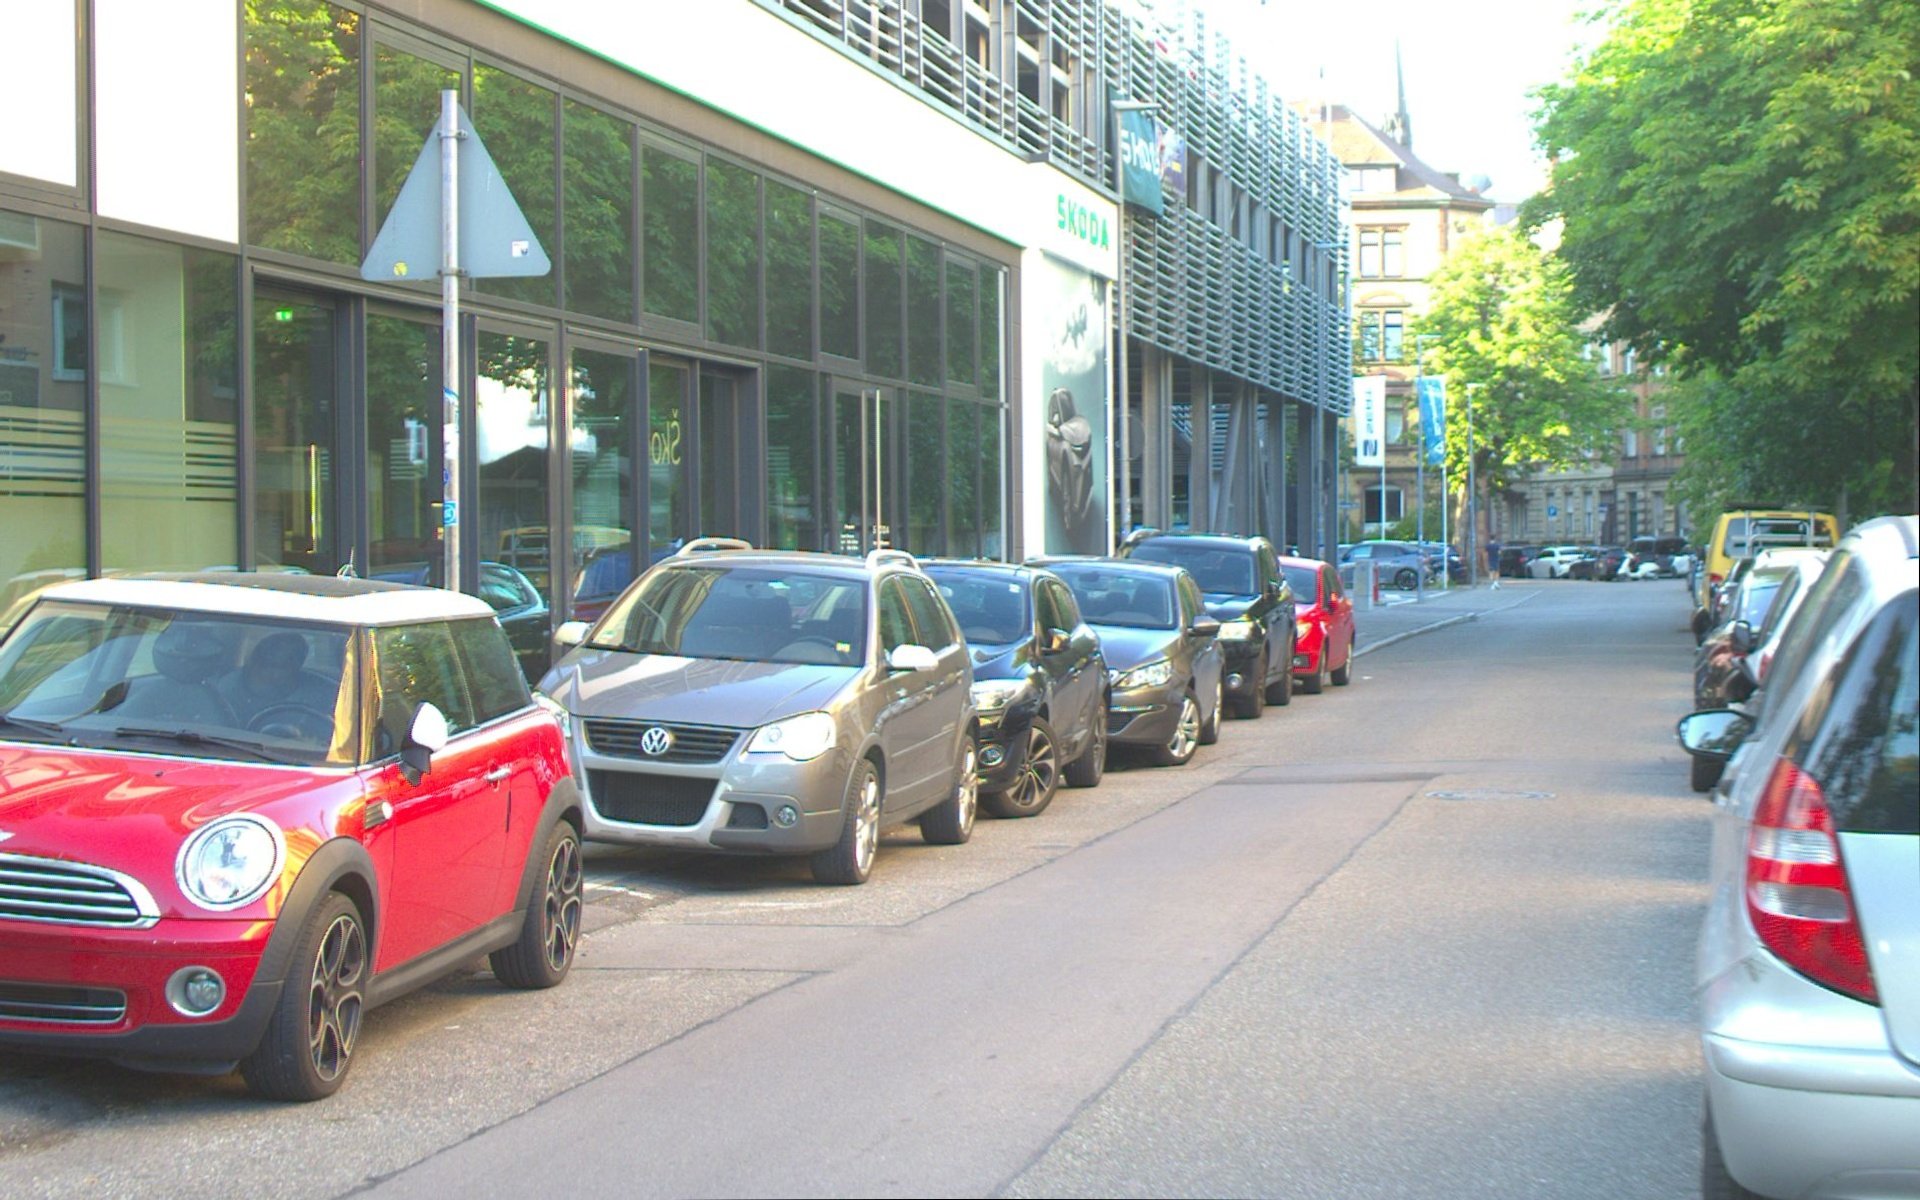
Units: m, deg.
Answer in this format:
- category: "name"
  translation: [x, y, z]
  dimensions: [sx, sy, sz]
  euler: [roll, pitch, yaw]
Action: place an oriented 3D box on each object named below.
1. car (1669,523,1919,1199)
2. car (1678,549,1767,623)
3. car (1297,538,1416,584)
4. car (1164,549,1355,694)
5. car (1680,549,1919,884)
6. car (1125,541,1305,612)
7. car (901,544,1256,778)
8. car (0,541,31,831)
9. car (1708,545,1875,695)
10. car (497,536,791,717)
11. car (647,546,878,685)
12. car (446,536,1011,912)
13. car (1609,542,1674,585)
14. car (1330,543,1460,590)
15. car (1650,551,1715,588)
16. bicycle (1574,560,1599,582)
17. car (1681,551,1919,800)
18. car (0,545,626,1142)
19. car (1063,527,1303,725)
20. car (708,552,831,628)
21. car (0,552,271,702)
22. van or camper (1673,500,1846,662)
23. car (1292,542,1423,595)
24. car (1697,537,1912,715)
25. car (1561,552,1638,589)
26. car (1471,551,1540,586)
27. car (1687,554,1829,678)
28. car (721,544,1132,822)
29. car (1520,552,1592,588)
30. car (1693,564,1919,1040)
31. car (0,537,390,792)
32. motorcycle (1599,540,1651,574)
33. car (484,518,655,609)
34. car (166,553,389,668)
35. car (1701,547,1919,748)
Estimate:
- category: "car"
  translation: [2.560, 0.610, 7.841]
  dimensions: [1.810, 1.570, 3.883]
  euler: [0, 1, 11]
- category: "car"
  translation: [16.115, -0.312, 72.746]
  dimensions: [1.760, 1.437, 4.004]
  euler: [0, 2, 12]
- category: "car"
  translation: [13.827, -1.378, 119.846]
  dimensions: [4.046, 1.470, 1.920]
  euler: [2, 2, 8]
- category: "car"
  translation: [3.383, 0.203, 38.342]
  dimensions: [1.698, 1.501, 3.789]
  euler: [0, 1, 11]
- category: "car"
  translation: [4.444, 0.477, 16.777]
  dimensions: [1.810, 1.412, 3.894]
  euler: [0, 1, 12]
- category: "car"
  translation: [5.929, -0.530, 79.635]
  dimensions: [3.988, 1.580, 1.859]
  euler: [0, -1, 10]
- category: "car"
  translation: [1.007, 0.399, 26.507]
  dimensions: [1.938, 1.591, 4.203]
  euler: [0, 2, 13]
- category: "car"
  translation: [-6.540, 0.532, 18.134]
  dimensions: [1.593, 1.644, 3.875]
  euler: [0, 1, 11]
- category: "car"
  translation: [8.915, 0.178, 37.045]
  dimensions: [1.610, 1.505, 3.476]
  euler: [0, 1, 11]
- category: "car"
  translation: [-3.053, 0.208, 34.150]
  dimensions: [1.698, 1.653, 4.407]
  euler: [0, 1, 11]
- category: "car"
  translation: [-2.182, 0.140, 38.967]
  dimensions: [1.698, 1.468, 3.780]
  euler: [0, 1, 11]
- category: "car"
  translation: [-1.007, 0.501, 17.013]
  dimensions: [1.662, 1.492, 3.883]
  euler: [5, 2, 12]
- category: "car"
  translation: [29.423, -1.586, 148.571]
  dimensions: [1.674, 1.776, 3.016]
  euler: [0, 1, -12]
- category: "car"
  translation: [16.549, -1.294, 131.004]
  dimensions: [4.830, 1.726, 1.920]
  euler: [0, 2, 6]
- category: "car"
  translation: [30.443, -1.289, 144.820]
  dimensions: [1.674, 1.520, 2.768]
  euler: [0, 1, -12]
- category: "bicycle"
  translation: [24.667, -1.144, 135.341]
  dimensions: [0.425, 0.819, 1.459]
  euler: [0, 2, 34]
- category: "car"
  translation: [5.656, 0.416, 22.442]
  dimensions: [1.810, 1.412, 4.623]
  euler: [0, 1, 11]
- category: "car"
  translation: [-2.411, 0.609, 11.101]
  dimensions: [1.662, 1.406, 3.926]
  euler: [5, 2, 8]
- category: "car"
  translation: [2.199, 0.194, 32.857]
  dimensions: [1.698, 1.750, 4.401]
  euler: [0, 1, 11]
- category: "car"
  translation: [-3.343, -0.196, 60.713]
  dimensions: [1.358, 1.250, 3.212]
  euler: [0, 2, 12]
- category: "car"
  translation: [-8.742, 0.244, 35.769]
  dimensions: [1.698, 1.429, 3.918]
  euler: [0, 1, 11]
- category: "van or camper"
  translation: [10.923, -0.313, 47.231]
  dimensions: [2.065, 2.088, 5.089]
  euler: [0, 2, 10]
- category: "car"
  translation: [13.036, -1.044, 112.668]
  dimensions: [4.131, 1.612, 1.912]
  euler: [2, 2, 10]
- category: "car"
  translation: [7.966, 0.197, 32.697]
  dimensions: [1.792, 1.557, 4.192]
  euler: [0, 1, 11]
- category: "car"
  translation: [26.153, -1.225, 140.699]
  dimensions: [1.654, 1.426, 3.991]
  euler: [0, 2, -12]
- category: "car"
  translation: [23.838, -1.399, 150.224]
  dimensions: [1.654, 1.426, 3.897]
  euler: [0, 2, -12]
- category: "car"
  translation: [9.750, 0.163, 42.046]
  dimensions: [1.607, 1.377, 3.998]
  euler: [0, 2, 13]
- category: "car"
  translation: [-0.101, 0.436, 21.479]
  dimensions: [1.729, 1.398, 4.005]
  euler: [5, 2, 10]
- category: "car"
  translation: [25.187, -1.284, 145.465]
  dimensions: [1.654, 1.426, 4.168]
  euler: [0, 2, -10]
- category: "car"
  translation: [3.578, 0.603, 12.516]
  dimensions: [1.717, 1.414, 4.026]
  euler: [0, 1, 11]
- category: "car"
  translation: [-5.357, 0.358, 22.854]
  dimensions: [1.698, 1.509, 4.190]
  euler: [0, 1, 11]
- category: "motorcycle"
  translation: [26.519, -1.704, 137.112]
  dimensions: [1.931, 1.336, 0.577]
  euler: [-1, 1, 2]
- category: "car"
  translation: [-5.683, -0.555, 50.351]
  dimensions: [1.420, 1.250, 3.525]
  euler: [0, 2, 12]
- category: "car"
  translation: [-8.041, 0.103, 40.724]
  dimensions: [1.420, 1.250, 3.212]
  euler: [0, 2, 12]
- category: "car"
  translation: [6.813, 0.328, 27.608]
  dimensions: [1.610, 1.456, 4.052]
  euler: [0, 1, 11]
